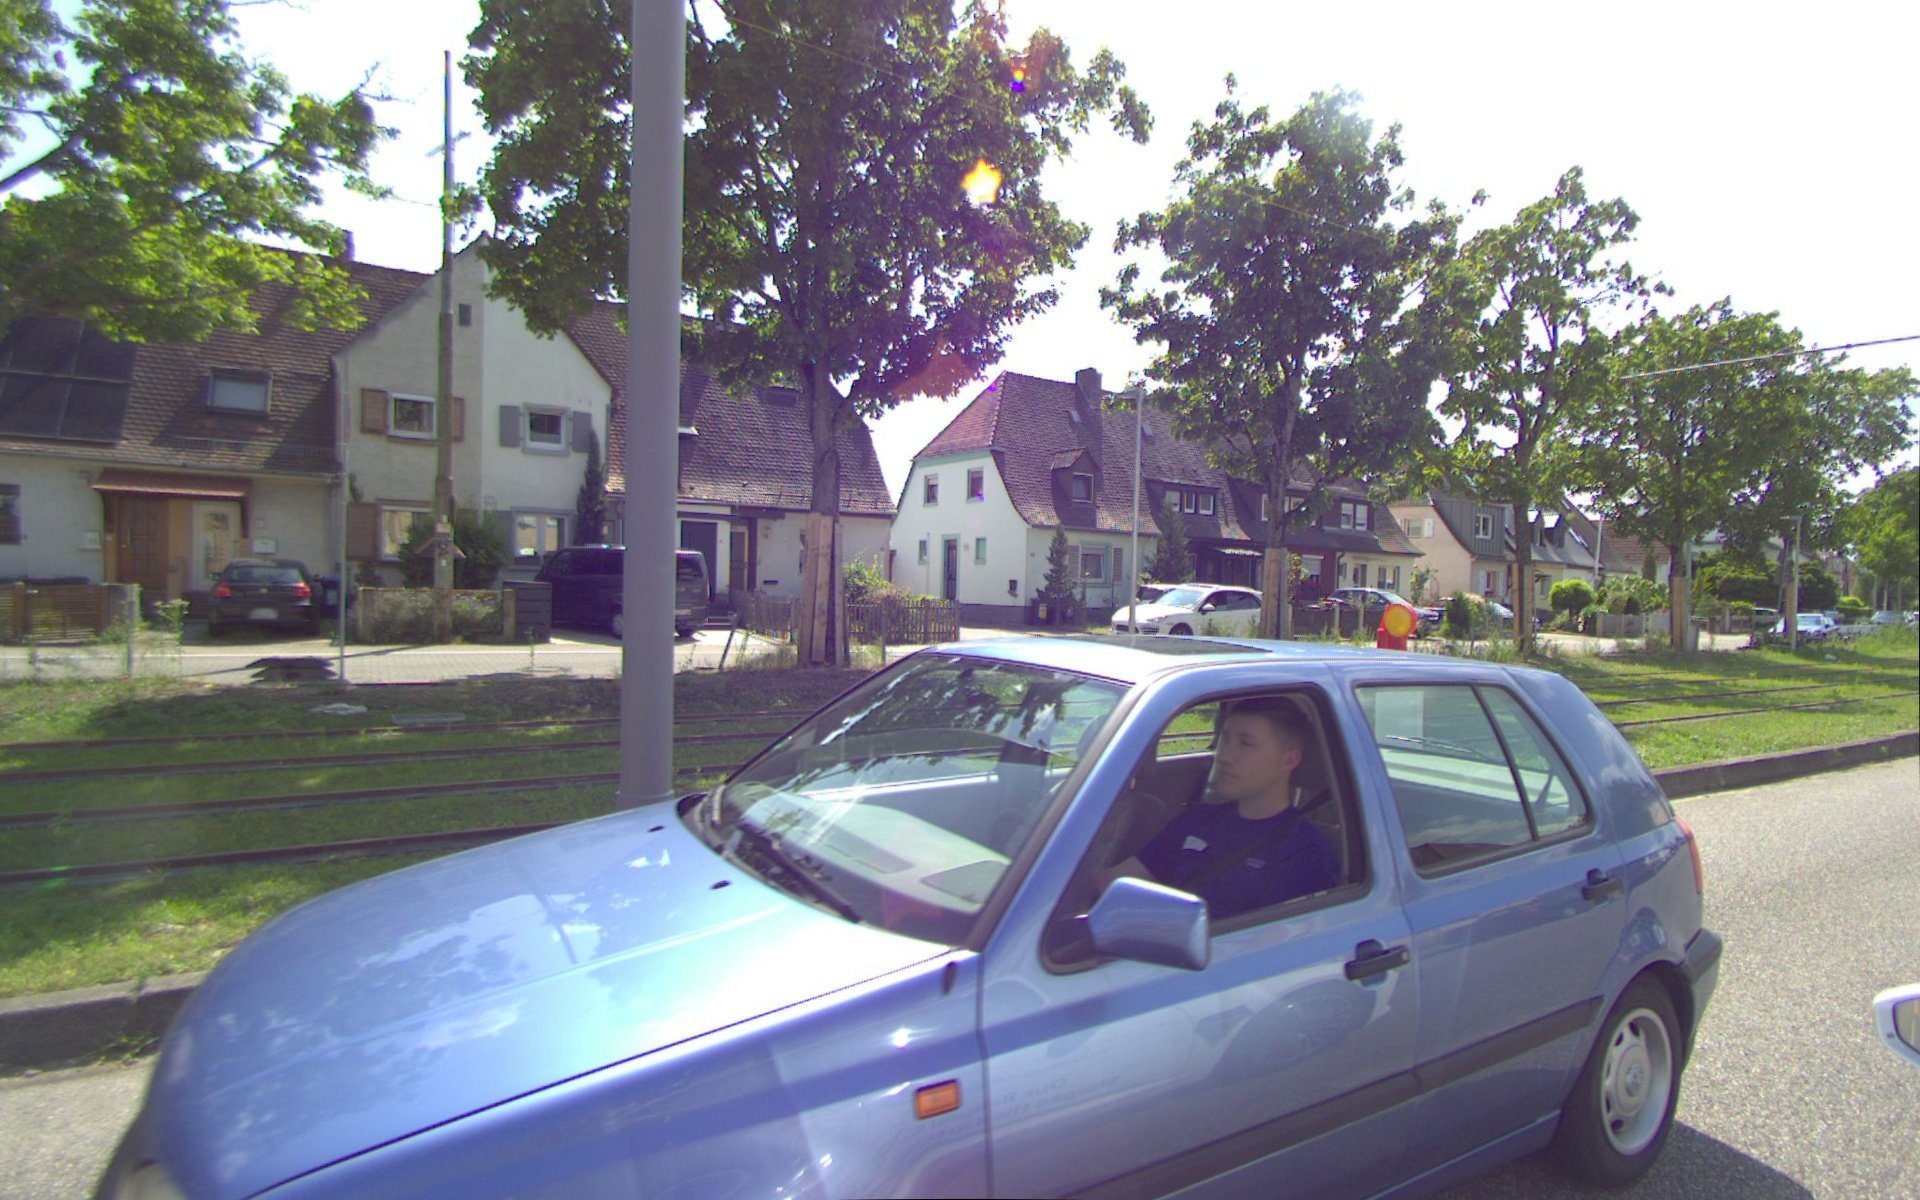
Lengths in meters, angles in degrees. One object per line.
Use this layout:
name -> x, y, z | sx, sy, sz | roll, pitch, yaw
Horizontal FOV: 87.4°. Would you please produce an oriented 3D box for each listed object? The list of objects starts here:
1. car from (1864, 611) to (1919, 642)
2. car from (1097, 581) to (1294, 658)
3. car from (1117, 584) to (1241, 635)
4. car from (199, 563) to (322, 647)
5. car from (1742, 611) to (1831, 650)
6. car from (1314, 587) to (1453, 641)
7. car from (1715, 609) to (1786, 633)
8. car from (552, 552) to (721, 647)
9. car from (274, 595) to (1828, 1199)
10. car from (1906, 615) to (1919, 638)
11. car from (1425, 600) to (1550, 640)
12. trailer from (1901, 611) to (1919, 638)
car -> 50.300, 1.409, 54.214 | 4.533, 1.608, 1.795 | 1, -1, -42
car -> 6.001, 0.483, 25.374 | 5.027, 1.792, 1.871 | 1, 0, -32
car -> 7.143, 0.318, 32.672 | 4.006, 1.538, 1.716 | 1, 1, -37
car -> -13.599, 0.060, 19.706 | 1.716, 1.476, 3.863 | 1, 1, -31
car -> 33.789, 1.230, 41.028 | 4.770, 1.425, 1.805 | 1, 1, -38
car -> 16.130, 0.499, 38.455 | 2.046, 1.861, 4.437 | 1, 1, -37
car -> 58.320, 1.515, 74.163 | 1.783, 1.592, 3.947 | 1, 1, -44
car -> -7.531, -0.065, 23.241 | 3.837, 1.922, 1.934 | 4, 2, 40
car -> 0.563, 0.784, 2.703 | 3.917, 1.468, 1.656 | 1, -2, -33
car -> 65.690, 1.769, 68.241 | 4.533, 1.525, 1.713 | 1, -1, -42
car -> 22.842, 0.818, 43.627 | 1.908, 1.544, 4.437 | 1, 1, -37
trailer -> 61.508, 1.562, 64.325 | 3.348, 1.700, 1.550 | 1, 1, -43
